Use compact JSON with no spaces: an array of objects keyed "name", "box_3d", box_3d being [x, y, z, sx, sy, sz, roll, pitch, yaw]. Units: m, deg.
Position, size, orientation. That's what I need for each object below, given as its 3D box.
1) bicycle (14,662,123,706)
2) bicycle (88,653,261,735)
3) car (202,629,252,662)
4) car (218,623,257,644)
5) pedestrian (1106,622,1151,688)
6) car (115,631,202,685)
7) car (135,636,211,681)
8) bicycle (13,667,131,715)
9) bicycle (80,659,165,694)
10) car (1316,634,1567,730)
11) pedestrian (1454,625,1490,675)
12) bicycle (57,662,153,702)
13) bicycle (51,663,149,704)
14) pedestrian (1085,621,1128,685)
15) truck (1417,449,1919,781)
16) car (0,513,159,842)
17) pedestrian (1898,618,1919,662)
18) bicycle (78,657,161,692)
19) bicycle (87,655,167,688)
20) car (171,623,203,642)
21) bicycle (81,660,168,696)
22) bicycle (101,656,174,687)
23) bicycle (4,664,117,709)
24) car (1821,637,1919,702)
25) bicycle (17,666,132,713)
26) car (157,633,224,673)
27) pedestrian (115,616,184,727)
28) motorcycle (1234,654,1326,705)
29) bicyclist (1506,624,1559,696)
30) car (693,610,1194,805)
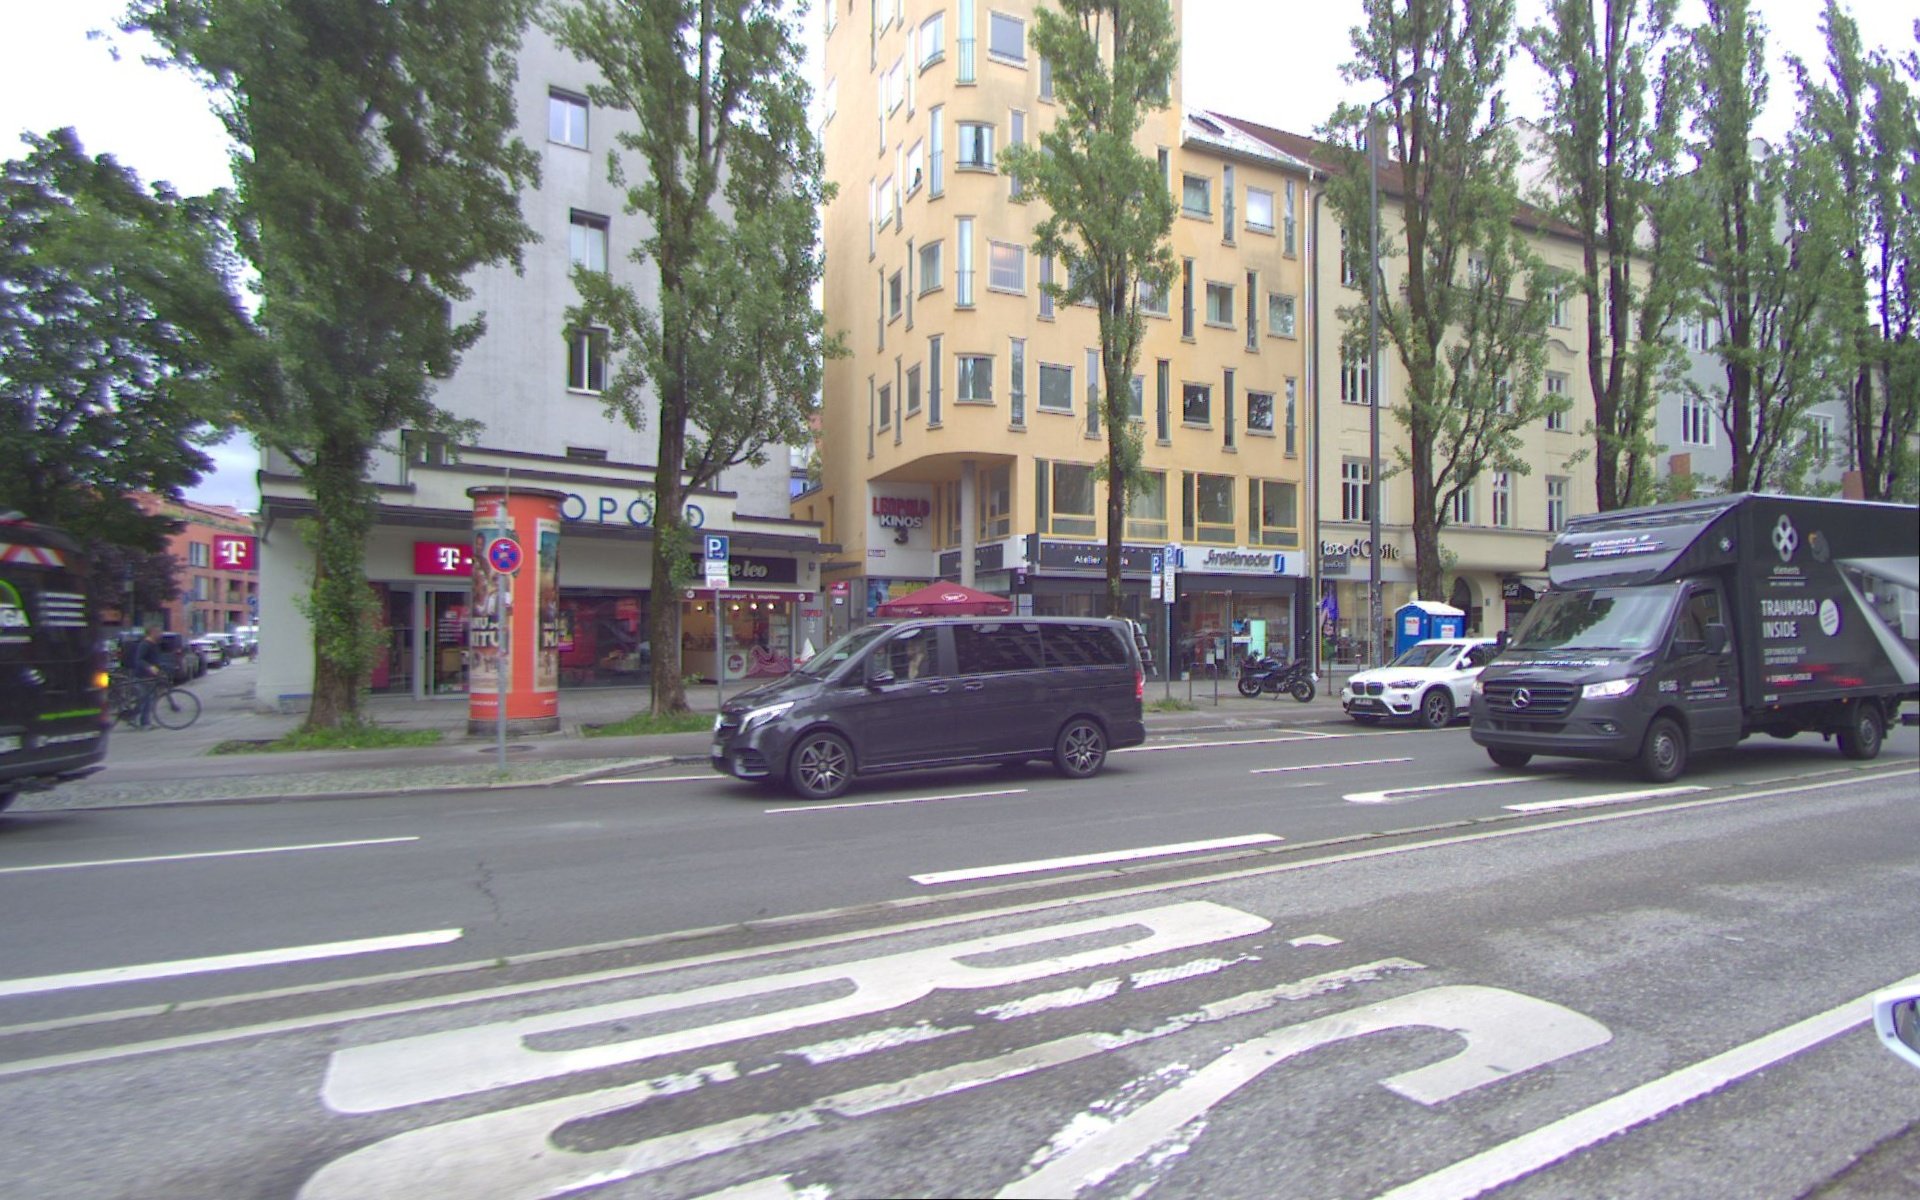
[{"name":"bicycle","box_3d":[-21.113,1.978,23.835,1.859,0.976,0.456,1,-2,-32]},{"name":"bicycle","box_3d":[-13.668,1.604,17.585,2.278,1.325,0.842,1,-2,-32]},{"name":"car","box_3d":[-42.608,2.643,58.464,1.978,1.843,4.202,1,-2,-32]},{"name":"car","box_3d":[-61.648,2.844,85.773,2.051,1.729,4.210,1,-2,-26]},{"name":"pedestrian","box_3d":[4.311,1.389,25.706,0.753,1.647,0.837,2,-1,-26]},{"name":"car","box_3d":[-29.581,2.096,37.210,1.978,1.888,4.202,1,-2,-32]},{"name":"car","box_3d":[-32.331,2.354,41.383,1.978,1.752,4.202,1,-2,-32]},{"name":"bicycle","box_3d":[-19.430,1.976,22.027,1.859,0.976,0.456,1,-2,-32]},{"name":"bicycle","box_3d":[-24.532,2.224,29.451,1.859,0.976,0.456,1,-2,-32]},{"name":"car","box_3d":[9.208,1.489,19.235,4.319,1.650,1.990,1,-2,-23]},{"name":"pedestrian","box_3d":[16.557,1.613,32.487,0.804,1.582,0.632,0,-1,-23]},{"name":"bicycle","box_3d":[-22.499,2.144,26.470,1.859,0.976,0.456,1,-2,-32]},{"name":"bicycle","box_3d":[-22.240,2.143,26.020,1.859,0.976,0.456,1,-2,-32]},{"name":"pedestrian","box_3d":[3.860,1.390,26.501,0.753,1.647,0.837,2,-1,-26]},{"name":"truck","box_3d":[9.274,0.239,12.764,7.061,3.366,2.284,1,-3,-26]},{"name":"car","box_3d":[-10.750,0.647,8.443,5.952,2.639,2.175,0,-2,-8]},{"name":"pedestrian","box_3d":[41.348,1.746,43.627,0.639,1.886,0.636,1,-2,-24]},{"name":"bicycle","box_3d":[-25.162,2.219,30.106,1.859,0.976,0.456,1,-2,-32]},{"name":"bicycle","box_3d":[-25.948,2.219,31.335,1.859,0.976,0.456,1,-2,-32]},{"name":"car","box_3d":[-70.017,2.932,91.063,1.831,1.684,4.202,1,-2,-31]},{"name":"bicycle","box_3d":[-24.081,2.228,28.984,1.859,0.976,0.456,1,-2,-32]},{"name":"bicycle","box_3d":[-27.699,2.389,33.854,1.859,0.976,0.456,1,-2,-32]},{"name":"bicycle","box_3d":[-20.700,1.977,23.153,1.859,0.976,0.456,1,-2,-32]},{"name":"car","box_3d":[24.280,1.727,25.776,3.944,1.539,1.800,1,-3,-24]},{"name":"bicycle","box_3d":[-19.804,1.989,22.500,1.859,0.976,0.456,1,-2,-32]},{"name":"car","box_3d":[-35.216,2.373,46.089,1.978,1.752,4.202,1,-2,-32]},{"name":"pedestrian","box_3d":[-14.587,1.266,18.098,0.823,1.923,0.853,1,-2,-32]},{"name":"motorcycle","box_3d":[7.384,1.812,23.264,0.483,1.050,2.035,2,-1,-44]},{"name":"bicyclist","box_3d":[13.073,1.352,22.932,1.092,1.601,0.495,1,-2,-26]},{"name":"car","box_3d":[-0.132,1.133,11.907,5.634,1.887,1.988,1,-4,-26]}]
